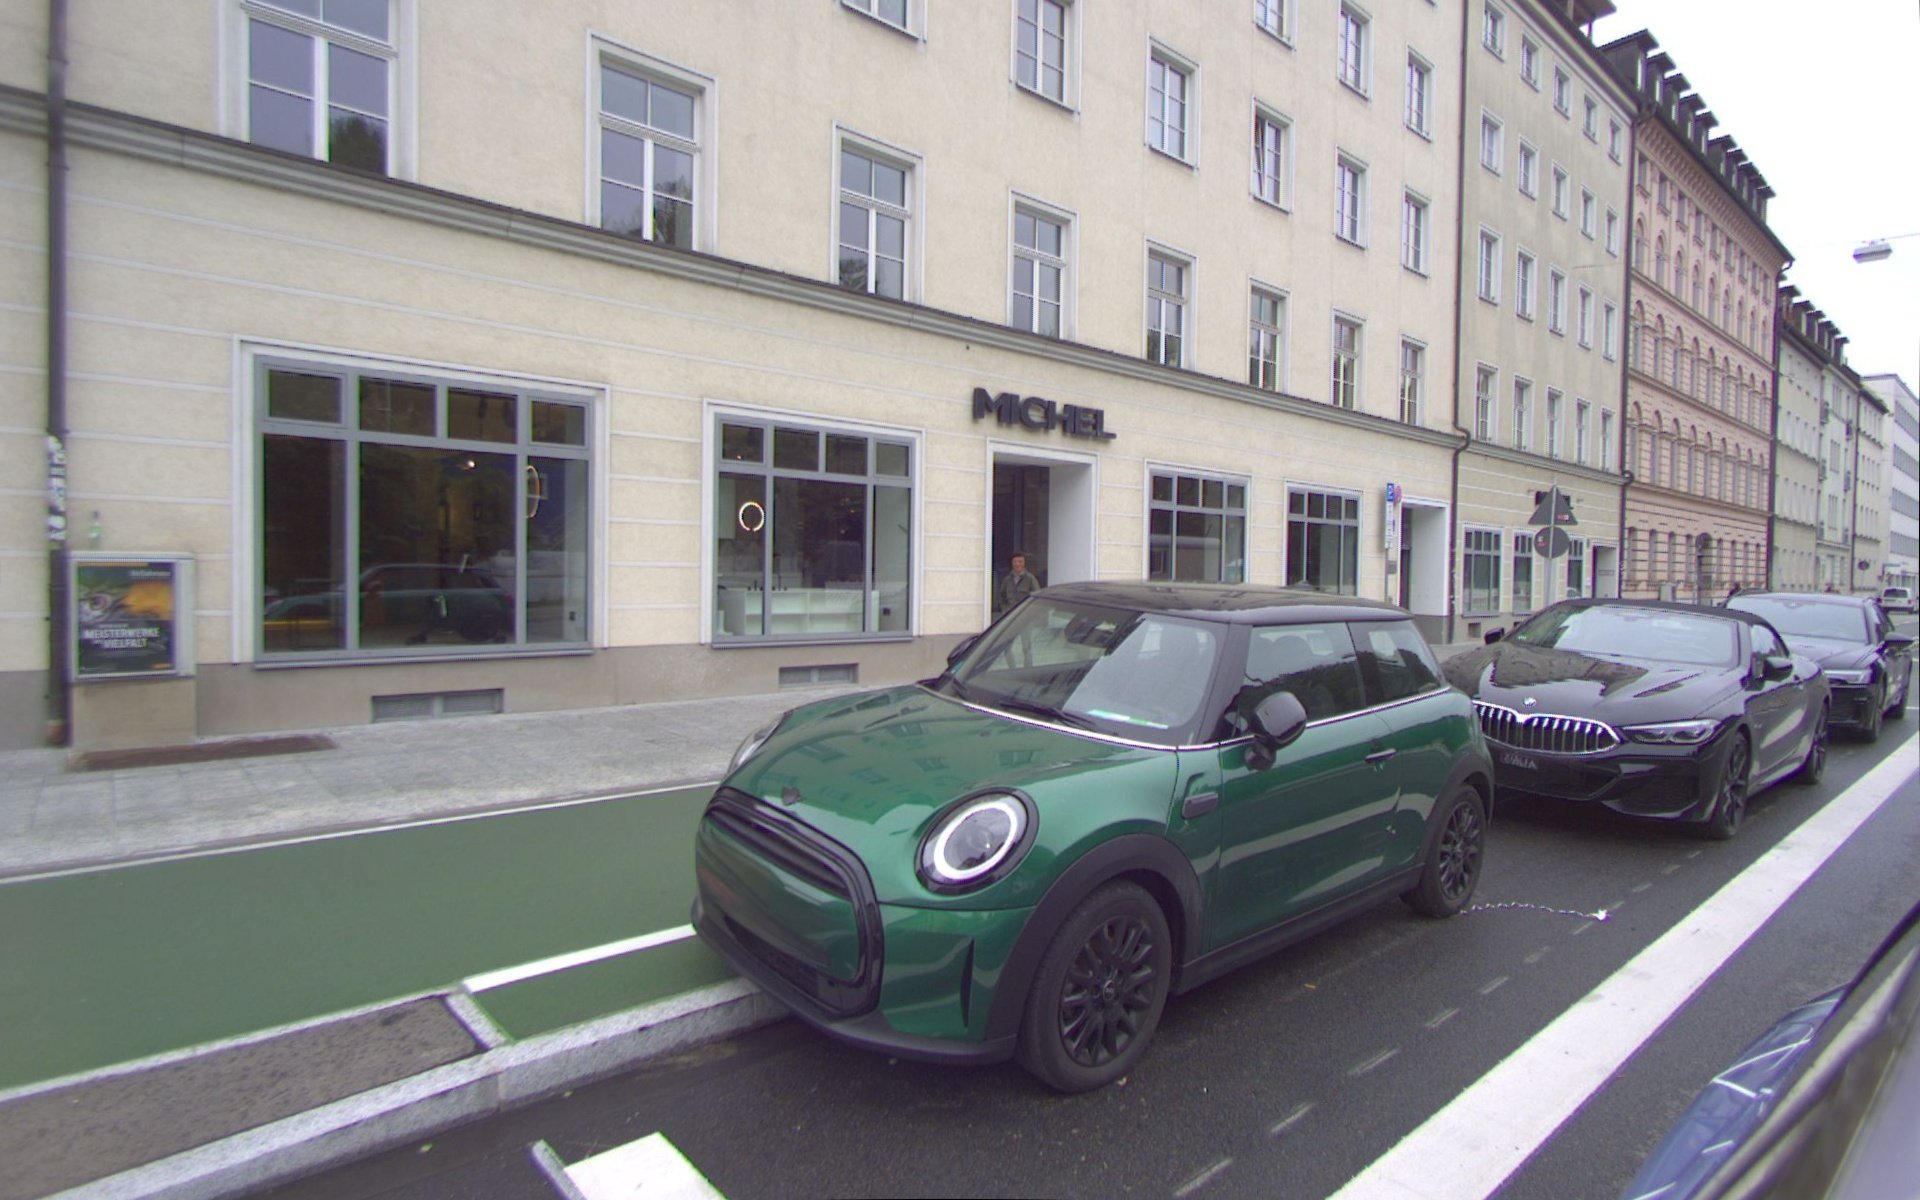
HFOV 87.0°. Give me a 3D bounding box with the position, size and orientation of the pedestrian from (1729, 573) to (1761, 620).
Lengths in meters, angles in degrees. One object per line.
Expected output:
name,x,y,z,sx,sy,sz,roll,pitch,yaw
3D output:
pedestrian,30.115,-0.157,38.817,0.819,1.767,0.795,0,1,-40

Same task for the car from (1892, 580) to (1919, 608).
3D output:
car,65.151,-0.408,69.173,3.931,1.855,1.764,0,1,-42

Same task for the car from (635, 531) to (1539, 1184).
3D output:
car,0.784,0.590,4.252,3.761,1.540,1.678,0,0,-40

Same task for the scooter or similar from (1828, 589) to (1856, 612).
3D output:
scooter or similar,48.332,0.023,55.431,1.055,1.261,0.554,1,1,-6

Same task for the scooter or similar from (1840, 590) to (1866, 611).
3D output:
scooter or similar,52.452,0.037,59.461,1.059,1.207,0.436,1,1,10

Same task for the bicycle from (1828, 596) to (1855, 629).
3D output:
bicycle,29.493,0.396,33.857,0.630,1.050,1.987,2,2,42

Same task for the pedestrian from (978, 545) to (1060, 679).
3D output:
pedestrian,0.794,0.135,13.484,0.774,1.710,0.853,2,2,28

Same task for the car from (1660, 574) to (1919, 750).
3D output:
car,9.688,0.548,11.526,4.386,1.498,1.812,0,5,-43

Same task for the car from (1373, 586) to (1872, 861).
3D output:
car,5.070,0.623,7.449,4.636,1.425,1.829,0,1,-40

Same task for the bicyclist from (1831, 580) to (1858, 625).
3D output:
bicyclist,29.560,0.083,33.816,0.630,1.486,0.643,2,1,42

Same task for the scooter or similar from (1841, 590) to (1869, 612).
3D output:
scooter or similar,51.644,0.038,58.386,1.063,1.207,0.451,2,1,20

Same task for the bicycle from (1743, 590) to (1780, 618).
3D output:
bicycle,34.283,0.164,43.301,1.690,1.191,0.558,0,1,-27
